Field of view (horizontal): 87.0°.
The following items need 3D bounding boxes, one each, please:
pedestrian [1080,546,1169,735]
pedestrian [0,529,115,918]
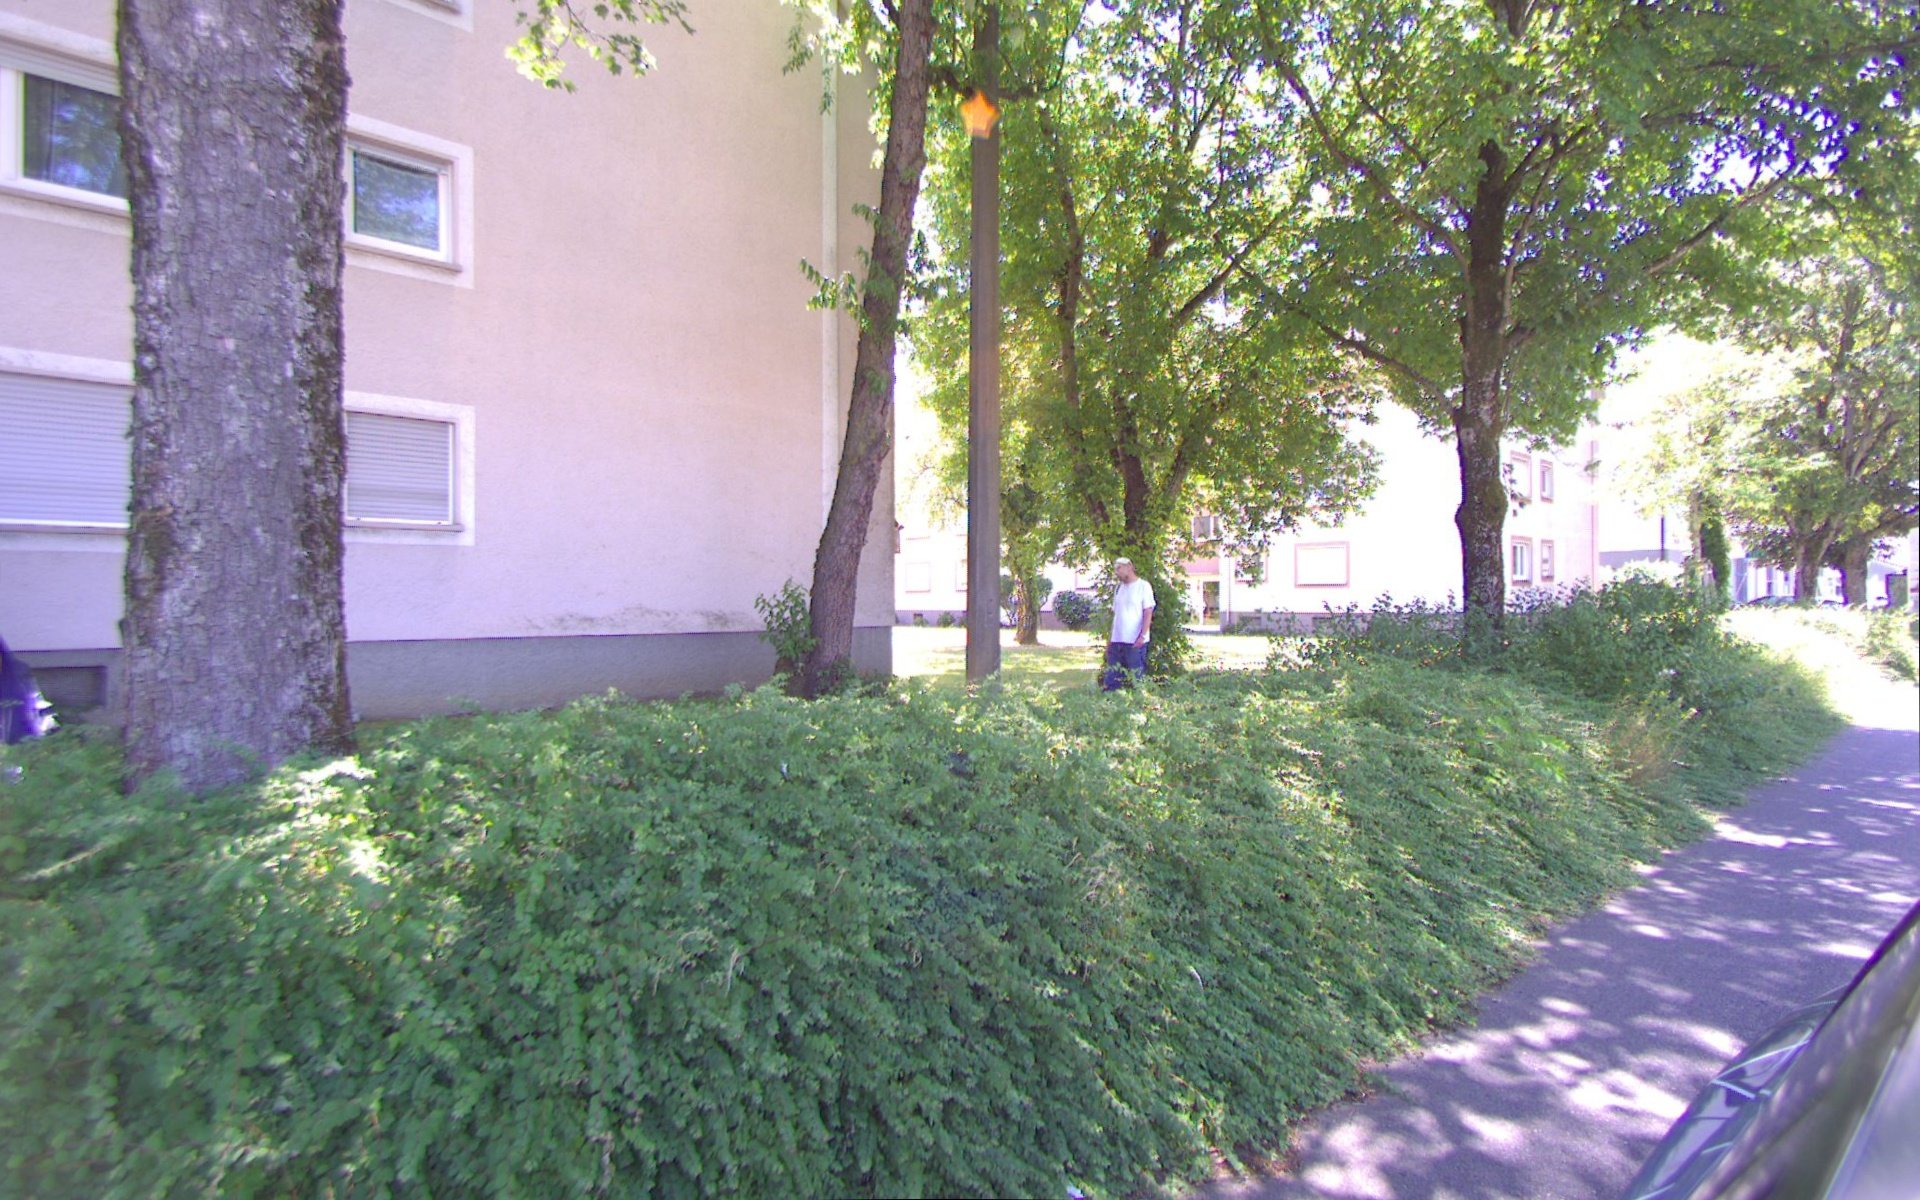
[{"bbox_3d":[1.749,0.395,10.682,0.668,1.897,0.894,1,1,28],"label":"pedestrian"},{"bbox_3d":[-4.376,0.520,4.512,0.717,1.654,0.839,0,0,41],"label":"pedestrian"}]
